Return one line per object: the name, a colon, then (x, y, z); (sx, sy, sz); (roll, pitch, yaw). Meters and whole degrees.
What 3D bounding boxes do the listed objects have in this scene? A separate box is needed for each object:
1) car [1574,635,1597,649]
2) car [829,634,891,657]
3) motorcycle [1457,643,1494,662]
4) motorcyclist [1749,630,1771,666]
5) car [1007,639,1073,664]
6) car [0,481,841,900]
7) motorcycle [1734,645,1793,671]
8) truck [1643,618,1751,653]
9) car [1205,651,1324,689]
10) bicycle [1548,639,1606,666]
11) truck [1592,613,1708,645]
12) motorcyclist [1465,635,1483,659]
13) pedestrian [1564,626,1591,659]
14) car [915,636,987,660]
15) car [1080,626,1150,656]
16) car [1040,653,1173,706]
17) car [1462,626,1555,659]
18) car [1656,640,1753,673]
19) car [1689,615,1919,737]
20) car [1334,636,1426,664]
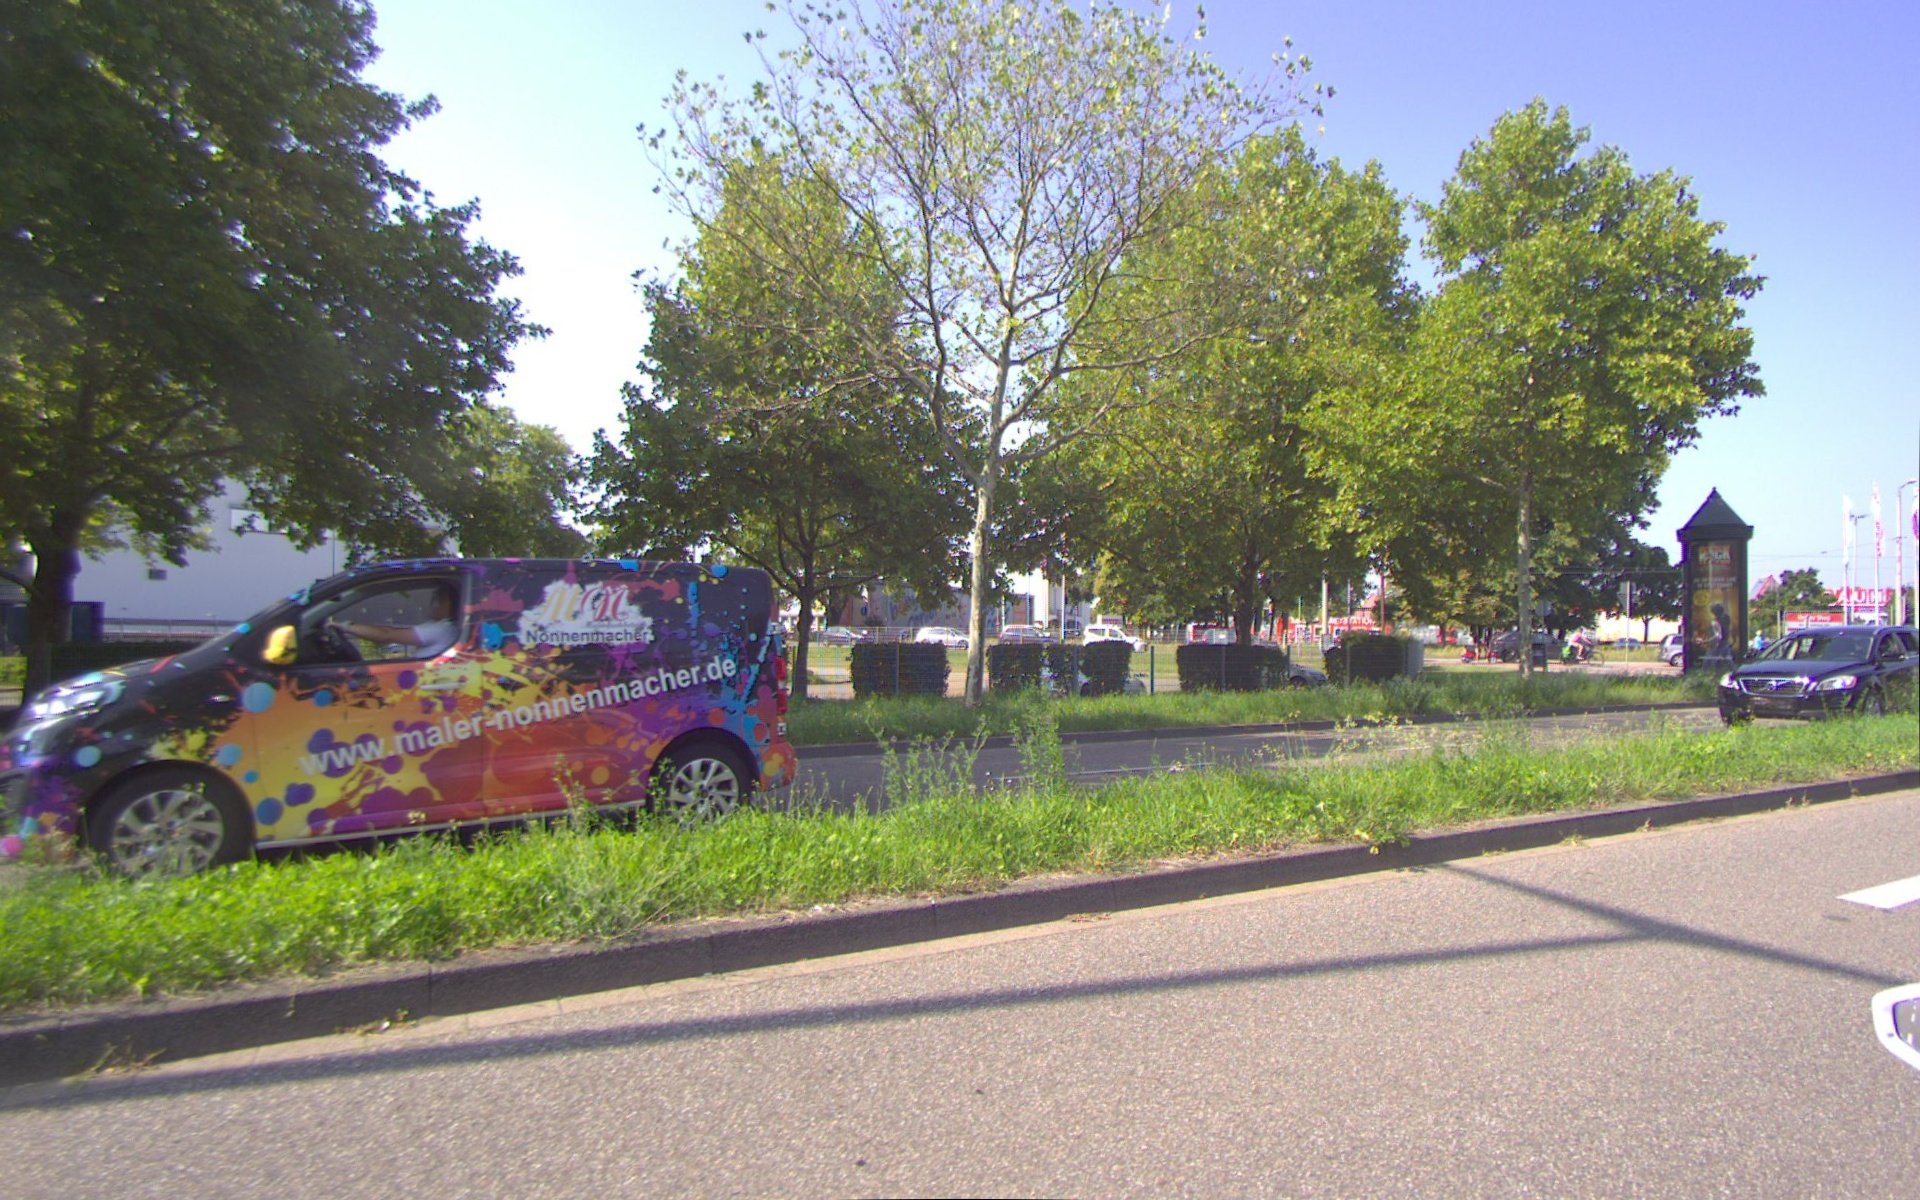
car: (54.434, 3.621, 87.417); (1.582, 1.150, 3.410); (0, -1, 30)
car: (-6.990, 3.184, 70.347); (3.921, 1.565, 1.840); (-1, -2, 20)
motorcycle: (27.124, 2.758, 52.894); (1.689, 0.957, 0.711); (0, -1, 27)
motorcyclist: (36.967, 2.211, 46.413); (0.671, 1.593, 0.683); (1, -1, 26)
car: (5.201, 3.317, 65.504); (3.926, 1.565, 1.838); (-1, -2, 27)
car: (-3.274, 0.521, 6.865); (4.512, 2.054, 1.923); (1, -2, -29)
motorcycle: (37.059, 2.663, 46.351); (2.037, 1.151, 0.677); (0, -2, 27)
truck: (52.800, 2.499, 72.139); (2.081, 2.360, 5.952); (2, -1, -30)
car: (10.984, 2.500, 36.256); (3.925, 1.272, 1.590); (-1, -2, 25)
bicycle: (30.461, 2.587, 49.631); (2.316, 1.252, 0.873); (1, -1, 27)
truck: (67.550, 2.881, 98.615); (8.846, 2.996, 3.511); (-1, -3, 26)
motorcyclist: (27.082, 2.466, 52.924); (0.815, 1.194, 0.690); (1, -1, 27)
pedestrian: (30.512, 2.082, 49.613); (1.038, 1.595, 0.868); (1, -1, 26)
car: (-0.628, 3.226, 68.209); (4.501, 1.565, 1.870); (-1, -2, 23)
car: (9.560, 2.493, 61.985); (3.925, 1.701, 1.869); (1, -1, 26)
car: (4.249, 2.290, 29.724); (1.800, 1.327, 3.967); (2, -2, -31)
car: (29.165, 2.242, 53.532); (4.229, 1.600, 1.571); (1, -1, 24)
car: (36.766, 2.760, 49.720); (3.633, 1.462, 1.465); (1, -1, 26)
car: (14.026, 1.157, 16.258); (4.451, 1.728, 1.984); (2, -1, -30)
car: (23.445, 2.759, 56.121); (4.658, 1.462, 1.571); (-1, -2, 26)
